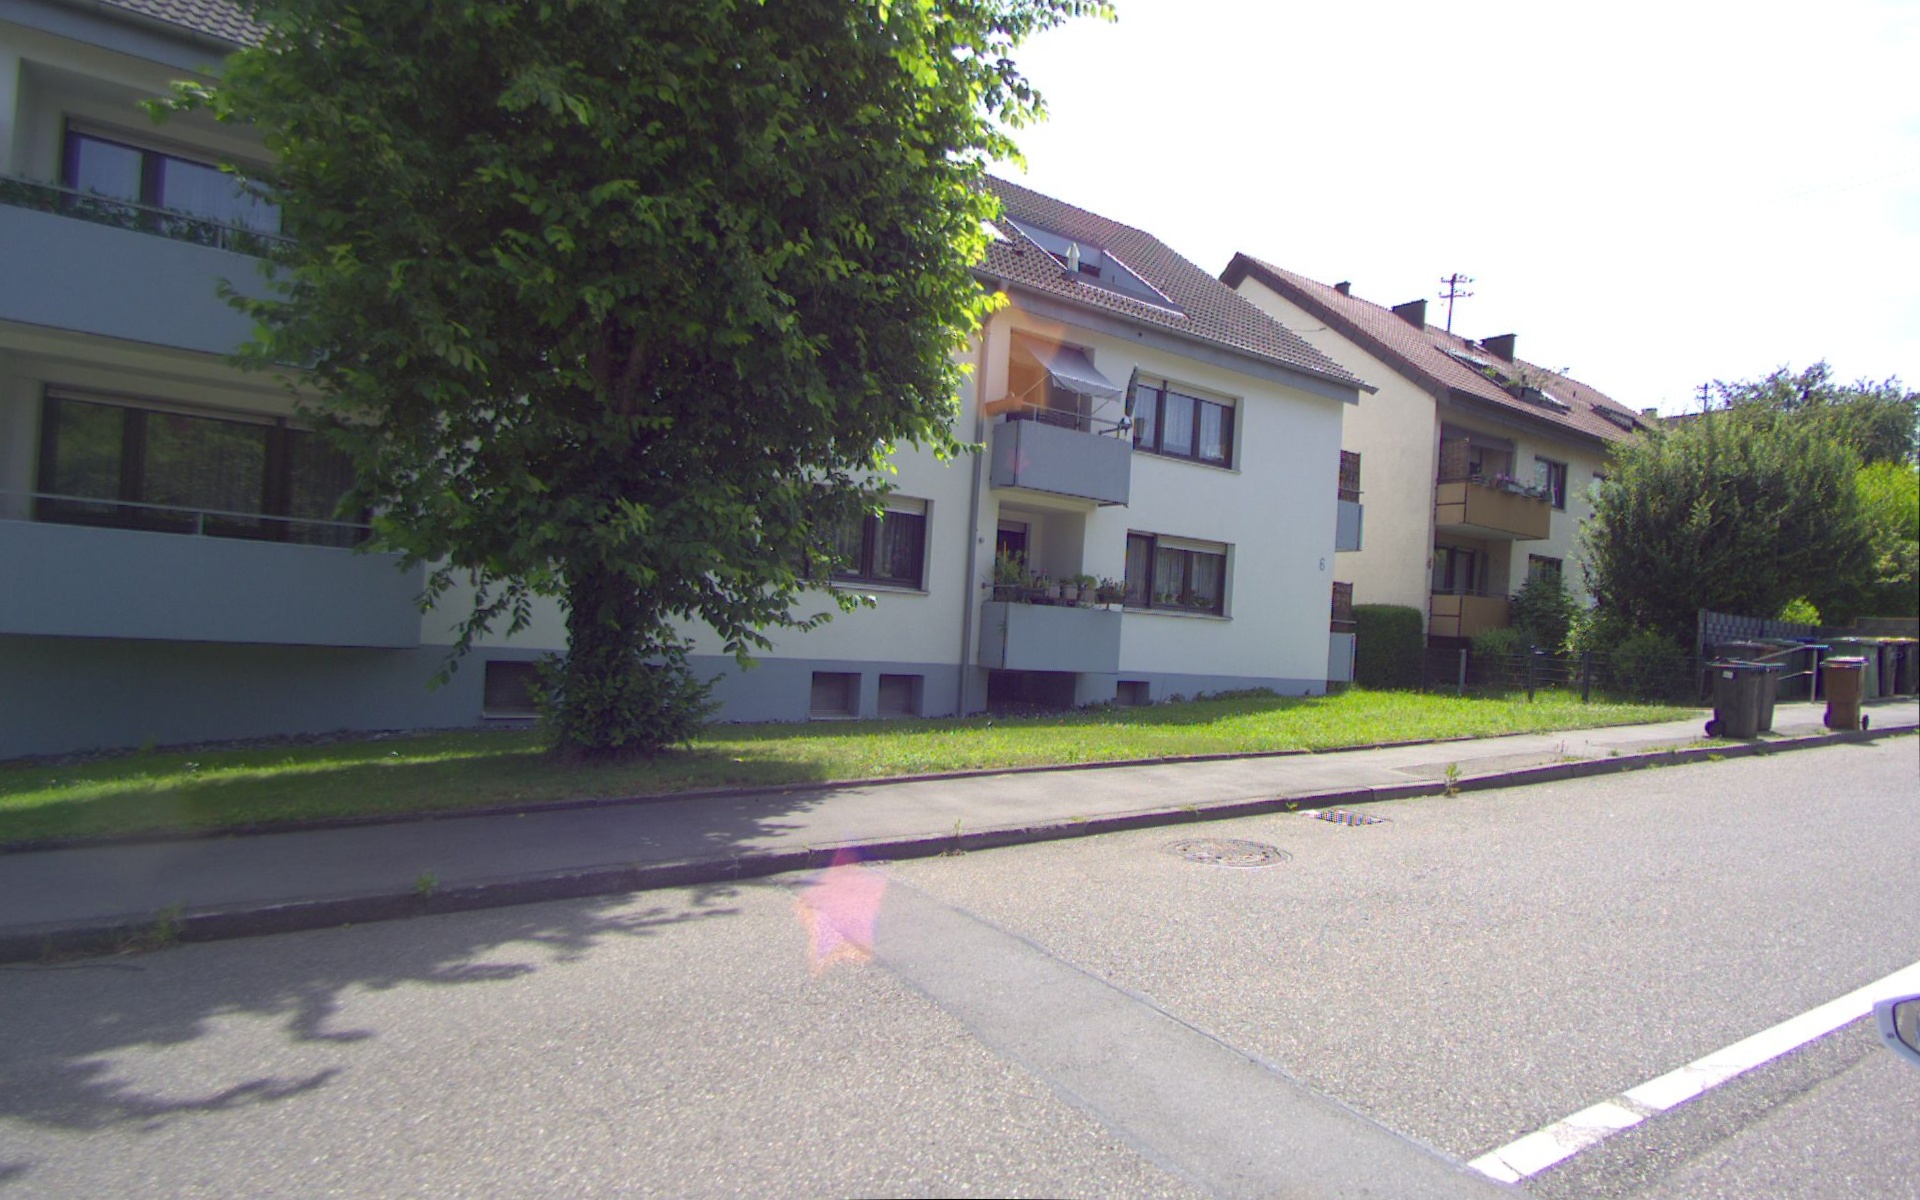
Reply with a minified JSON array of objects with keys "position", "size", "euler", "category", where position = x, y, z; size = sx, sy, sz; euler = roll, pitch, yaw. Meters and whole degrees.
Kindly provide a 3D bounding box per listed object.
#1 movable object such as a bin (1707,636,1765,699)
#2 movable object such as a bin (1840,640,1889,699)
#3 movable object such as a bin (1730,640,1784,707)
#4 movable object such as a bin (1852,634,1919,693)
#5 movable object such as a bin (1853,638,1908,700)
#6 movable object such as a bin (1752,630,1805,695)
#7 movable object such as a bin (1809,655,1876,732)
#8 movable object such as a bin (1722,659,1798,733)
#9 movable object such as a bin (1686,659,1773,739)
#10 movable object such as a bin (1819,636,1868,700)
[{"position":[14.110,1.213,18.261],"size":[0.641,1.111,0.601],"euler":[1,-1,-24],"category":"movable object such as a bin"},{"position":[16.344,1.254,18.150],"size":[0.553,1.057,0.454],"euler":[2,-3,-24],"category":"movable object such as a bin"},{"position":[14.748,1.354,18.587],"size":[0.665,1.193,0.545],"euler":[1,-1,-25],"category":"movable object such as a bin"},{"position":[18.036,1.217,19.521],"size":[0.687,1.084,0.895],"euler":[1,-1,-31],"category":"movable object such as a bin"},{"position":[16.938,1.270,18.484],"size":[0.700,1.119,0.495],"euler":[2,-3,-24],"category":"movable object such as a bin"},{"position":[15.442,1.169,18.947],"size":[0.829,1.193,0.475],"euler":[1,-1,-26],"category":"movable object such as a bin"},{"position":[11.950,1.252,13.607],"size":[0.555,1.001,0.505],"euler":[1,-1,-24],"category":"movable object such as a bin"},{"position":[10.576,1.251,13.280],"size":[0.633,0.930,0.562],"euler":[1,-1,-24],"category":"movable object such as a bin"},{"position":[9.596,1.219,12.533],"size":[0.676,0.930,0.618],"euler":[1,-1,-24],"category":"movable object such as a bin"},{"position":[15.760,1.201,17.913],"size":[0.523,1.119,0.514],"euler":[2,-3,-31],"category":"movable object such as a bin"}]
